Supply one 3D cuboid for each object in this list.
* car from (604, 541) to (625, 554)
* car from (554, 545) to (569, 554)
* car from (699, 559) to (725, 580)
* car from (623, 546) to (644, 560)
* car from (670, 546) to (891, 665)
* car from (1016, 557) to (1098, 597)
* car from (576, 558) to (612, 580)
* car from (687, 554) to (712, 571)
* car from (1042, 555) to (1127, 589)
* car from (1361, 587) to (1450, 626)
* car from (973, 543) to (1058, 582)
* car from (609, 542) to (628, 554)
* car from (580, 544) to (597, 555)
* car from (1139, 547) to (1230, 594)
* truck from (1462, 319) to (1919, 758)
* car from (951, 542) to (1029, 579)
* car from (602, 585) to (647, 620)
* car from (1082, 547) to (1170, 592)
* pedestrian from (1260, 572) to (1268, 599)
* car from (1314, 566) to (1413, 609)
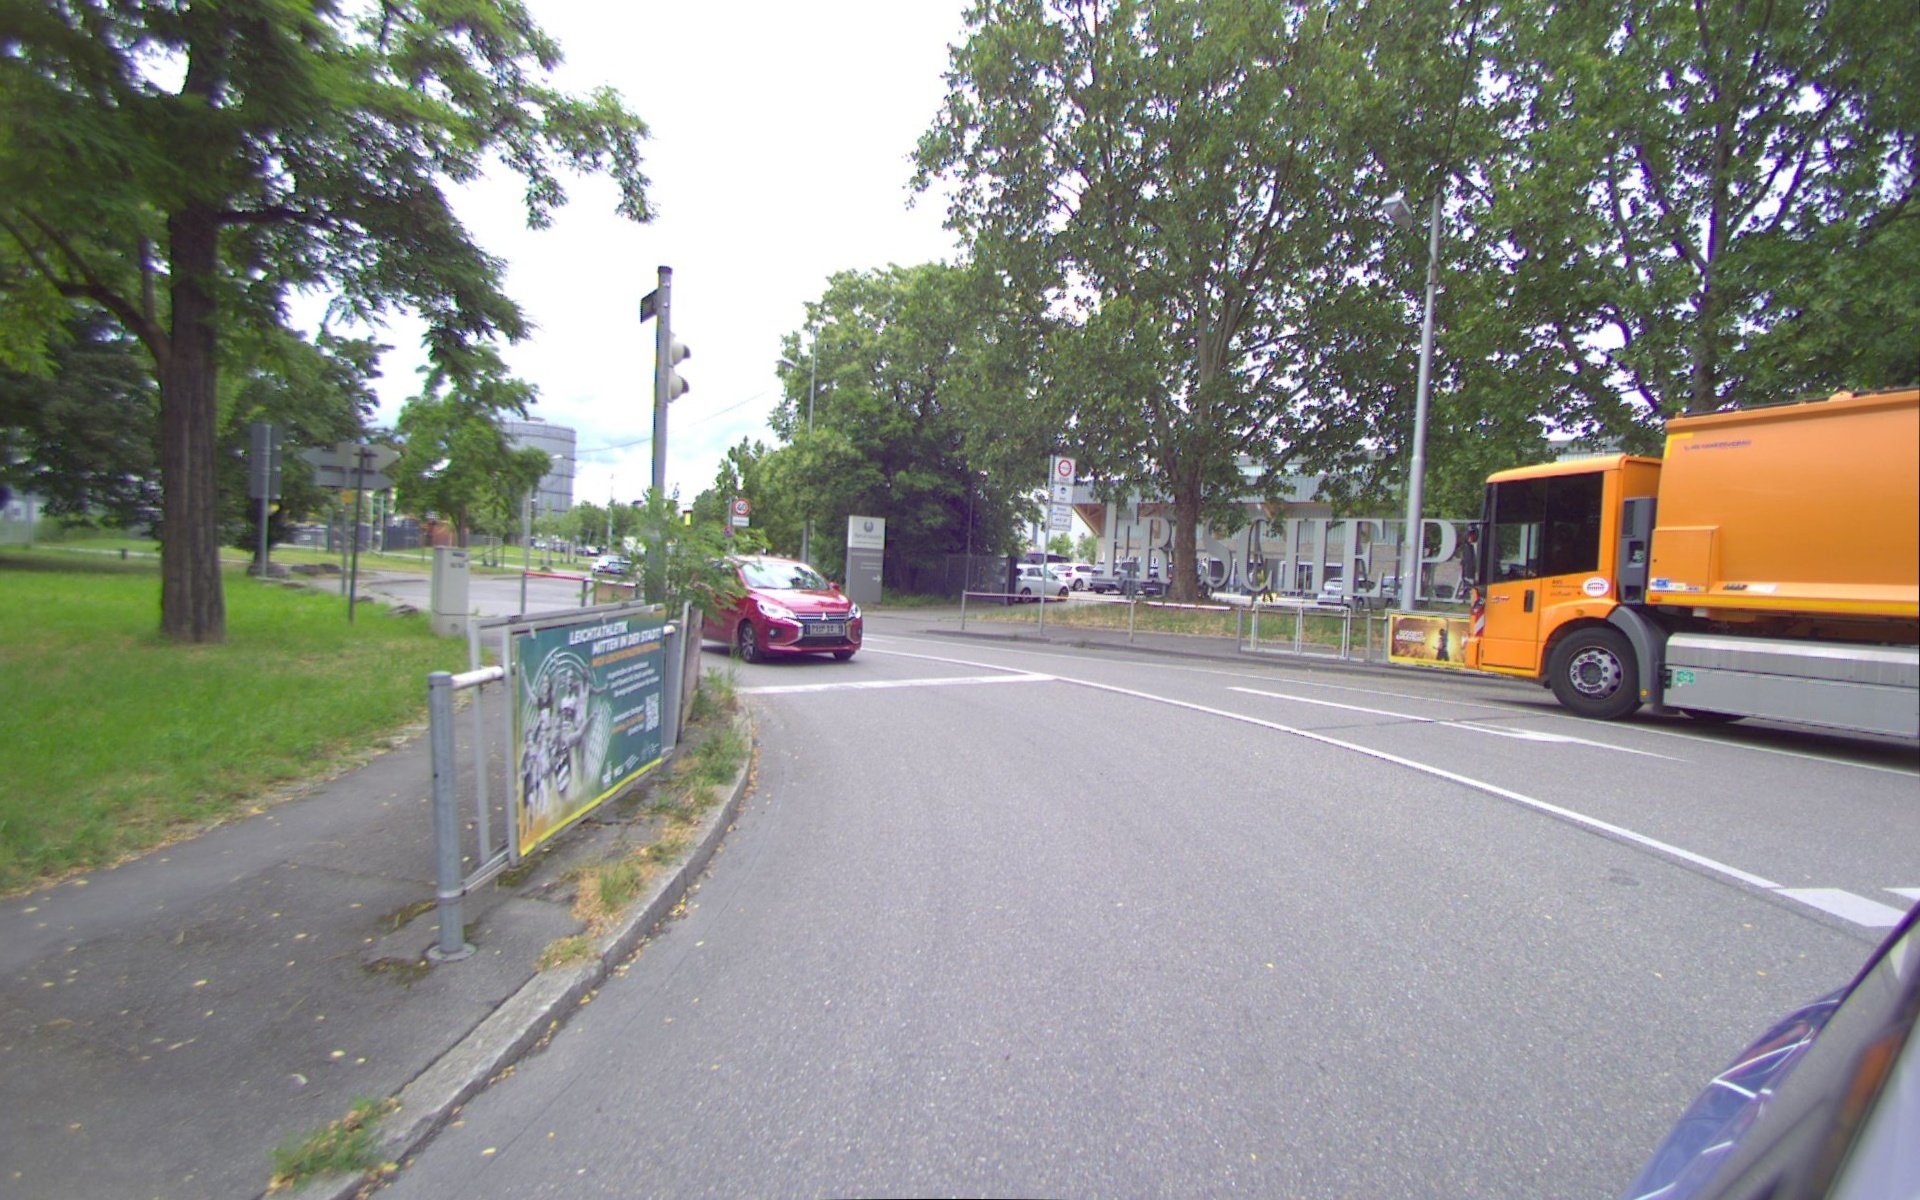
[{"bbox_3d":[-47.109,-7.149,137.924,2.006,1.555,3.949,2,2,-29],"label":"car"},{"bbox_3d":[-75.488,-9.584,191.642,2.007,1.555,3.946,4,1,-32],"label":"car"},{"bbox_3d":[-18.897,-2.343,77.255,1.681,1.424,3.378,3,1,-10],"label":"car"},{"bbox_3d":[-41.800,-6.020,129.440,2.005,1.667,3.951,2,2,-25],"label":"car"},{"bbox_3d":[-2.780,-0.011,15.026,1.701,1.483,3.835,0,3,-36],"label":"car"},{"bbox_3d":[5.548,-1.278,57.313,4.560,2.038,1.997,2,2,-42],"label":"car"},{"bbox_3d":[-26.869,-2.301,74.454,2.005,1.554,3.952,0,4,-13],"label":"car"},{"bbox_3d":[-25.610,-3.689,99.463,2.005,1.554,3.952,-1,4,-19],"label":"car"},{"bbox_3d":[6.772,-1.502,54.663,4.560,1.577,1.997,2,2,-42],"label":"car"},{"bbox_3d":[20.372,0.301,46.187,4.560,1.580,1.997,2,2,-42],"label":"car"},{"bbox_3d":[3.352,-2.230,60.394,5.014,2.023,1.997,2,2,-42],"label":"car"},{"bbox_3d":[-50.977,-7.734,151.001,2.006,1.555,3.948,2,2,-30],"label":"car"},{"bbox_3d":[-62.997,-8.566,171.590,2.007,1.555,3.947,4,1,-31],"label":"car"},{"bbox_3d":[11.002,-1.411,49.535,4.560,2.038,1.997,2,2,-42],"label":"car"},{"bbox_3d":[9.346,-0.441,8.007,2.739,3.570,10.445,2,1,-21],"label":"truck"},{"bbox_3d":[1.903,-2.471,63.188,4.740,2.038,1.997,2,2,-42],"label":"car"},{"bbox_3d":[-18.080,0.111,54.702,1.811,1.656,4.194,4,0,-13],"label":"car"},{"bbox_3d":[8.540,-1.546,51.842,4.560,2.038,1.997,2,2,-42],"label":"car"},{"bbox_3d":[20.388,-0.955,67.899,0.338,1.787,0.434,4,0,25],"label":"pedestrian"},{"bbox_3d":[17.059,-0.528,42.708,4.560,1.580,1.997,2,2,-42],"label":"car"}]
